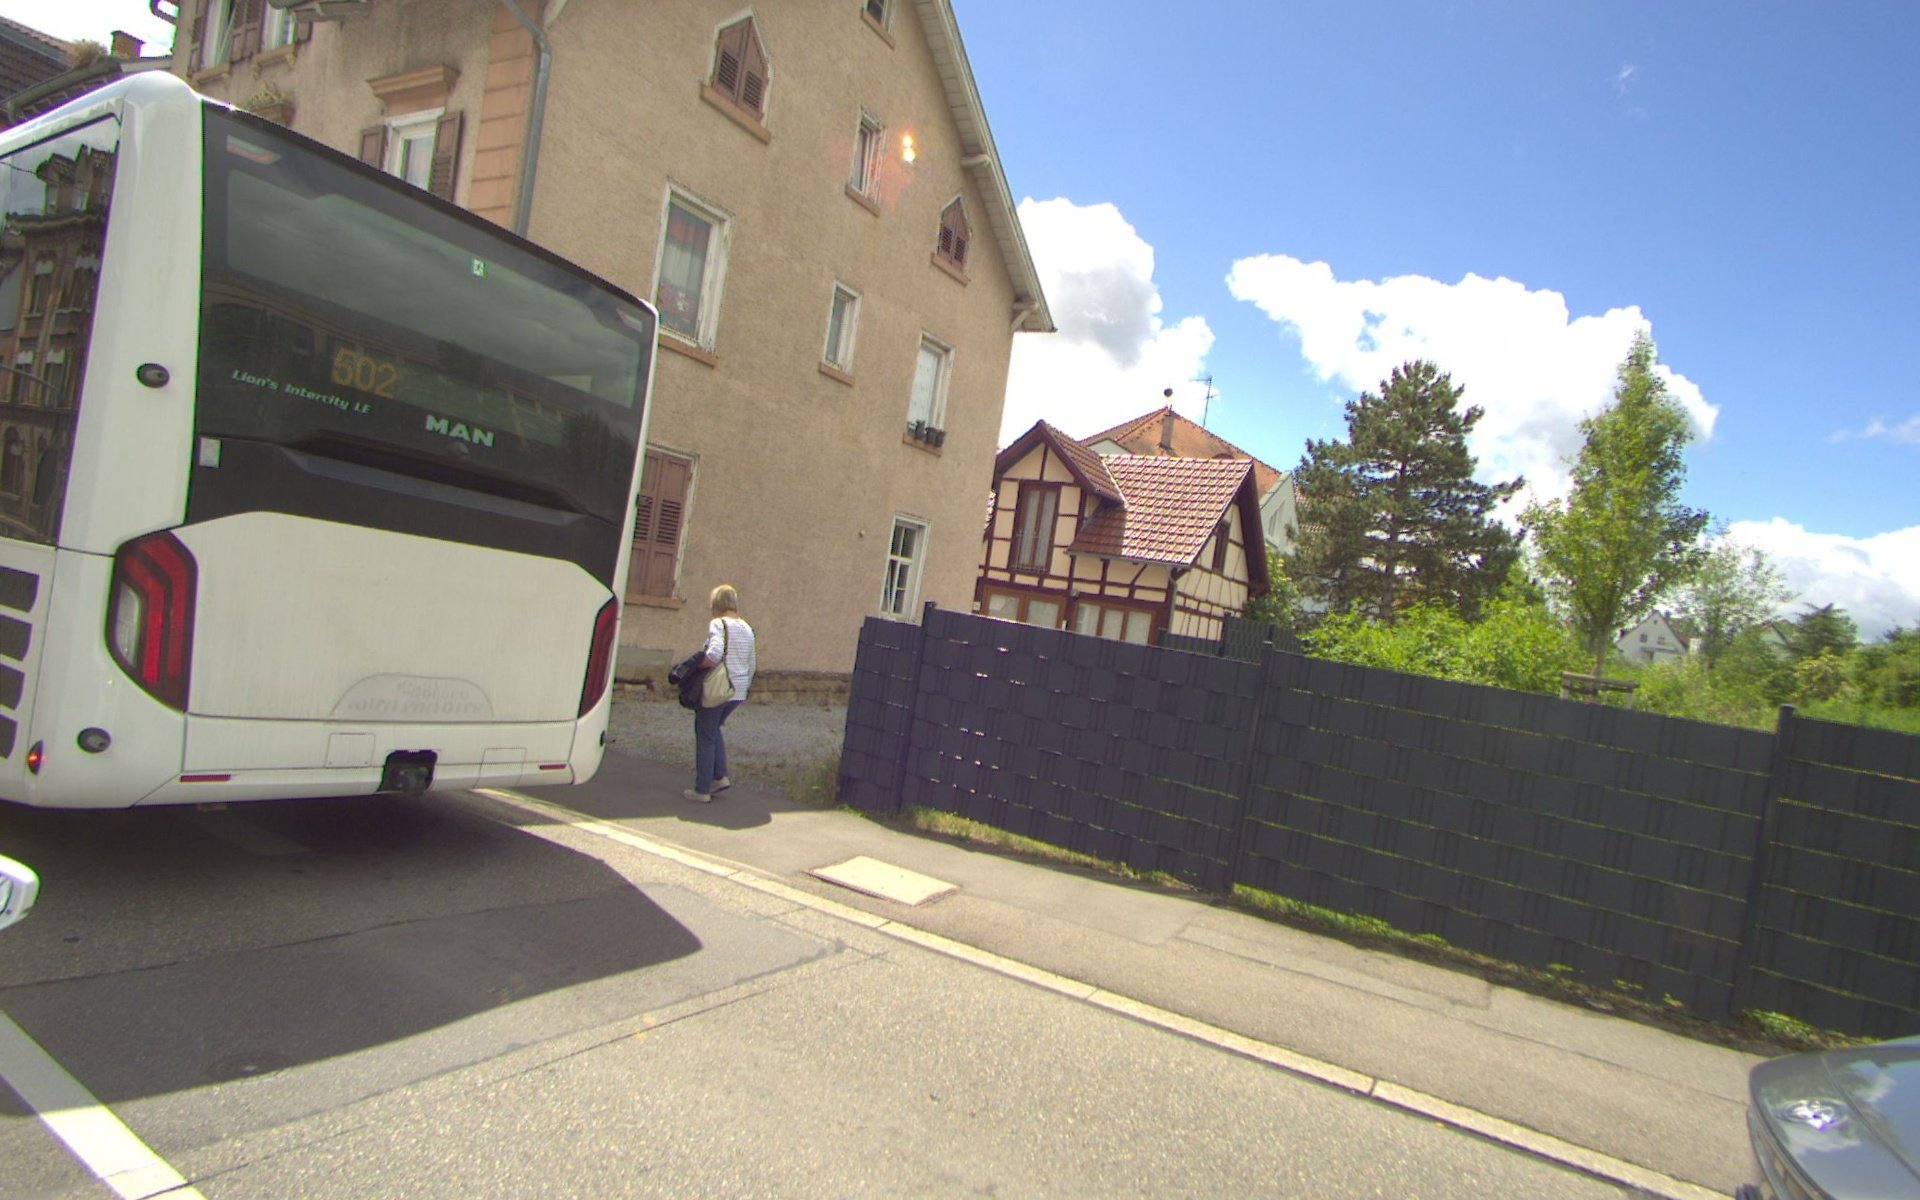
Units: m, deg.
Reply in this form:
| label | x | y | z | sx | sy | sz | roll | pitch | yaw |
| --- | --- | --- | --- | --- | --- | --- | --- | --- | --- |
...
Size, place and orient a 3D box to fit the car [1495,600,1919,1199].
| label | x | y | z | sx | sy | sz | roll | pitch | yaw |
| --- | --- | --- | --- | --- | --- | --- | --- | --- | --- |
| car | 3.087 | 1.161 | 0.854 | 4.605 | 1.631 | 1.924 | 7 | -2 | 32 |

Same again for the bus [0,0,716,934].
| label | x | y | z | sx | sy | sz | roll | pitch | yaw |
| --- | --- | --- | --- | --- | --- | --- | --- | --- | --- |
| bus | -7.408 | -0.939 | 7.787 | 12.255 | 3.194 | 2.676 | 7 | 0 | 32 |

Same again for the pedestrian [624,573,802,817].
| label | x | y | z | sx | sy | sz | roll | pitch | yaw |
| --- | --- | --- | --- | --- | --- | --- | --- | --- | --- |
| pedestrian | -1.764 | 0.661 | 7.248 | 0.700 | 1.581 | 0.860 | 7 | 1 | 31 |
